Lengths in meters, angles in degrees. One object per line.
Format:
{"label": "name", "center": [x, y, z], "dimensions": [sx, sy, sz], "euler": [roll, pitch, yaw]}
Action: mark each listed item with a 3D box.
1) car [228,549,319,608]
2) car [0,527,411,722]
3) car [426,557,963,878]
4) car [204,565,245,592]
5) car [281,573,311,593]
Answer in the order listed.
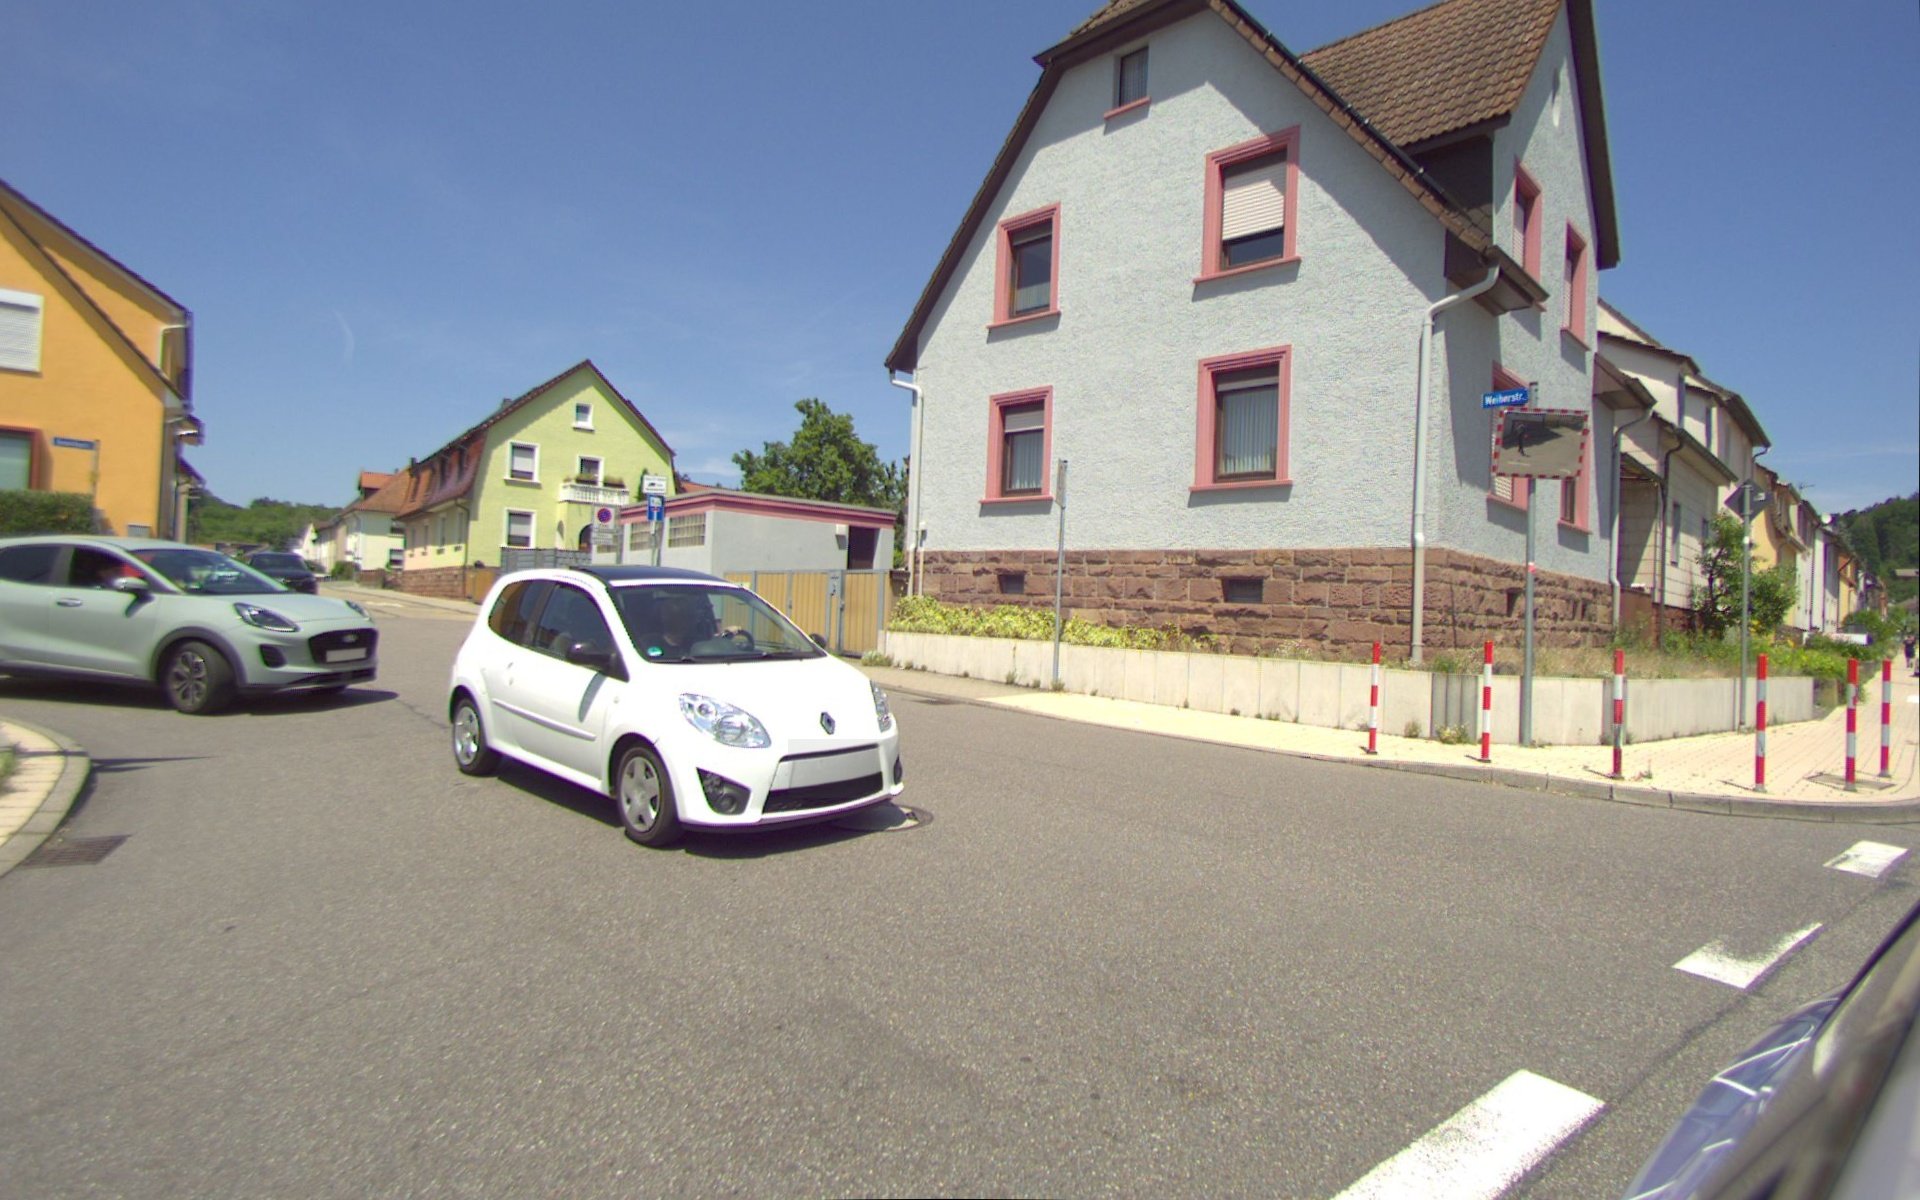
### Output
{"label": "car", "center": [-20.573, -0.635, 30.268], "dimensions": [1.964, 1.616, 3.997], "euler": [1, 1, -38]}
{"label": "car", "center": [-7.824, 0.147, 9.835], "dimensions": [4.053, 1.554, 1.774], "euler": [3, 2, 5]}
{"label": "car", "center": [-1.922, 0.505, 6.697], "dimensions": [3.669, 1.497, 1.748], "euler": [3, 2, 43]}
{"label": "car", "center": [-47.267, -1.374, 64.980], "dimensions": [1.964, 1.616, 3.997], "euler": [1, 1, -38]}
{"label": "car", "center": [-56.302, -1.446, 85.780], "dimensions": [1.804, 1.616, 3.882], "euler": [1, 1, -38]}
